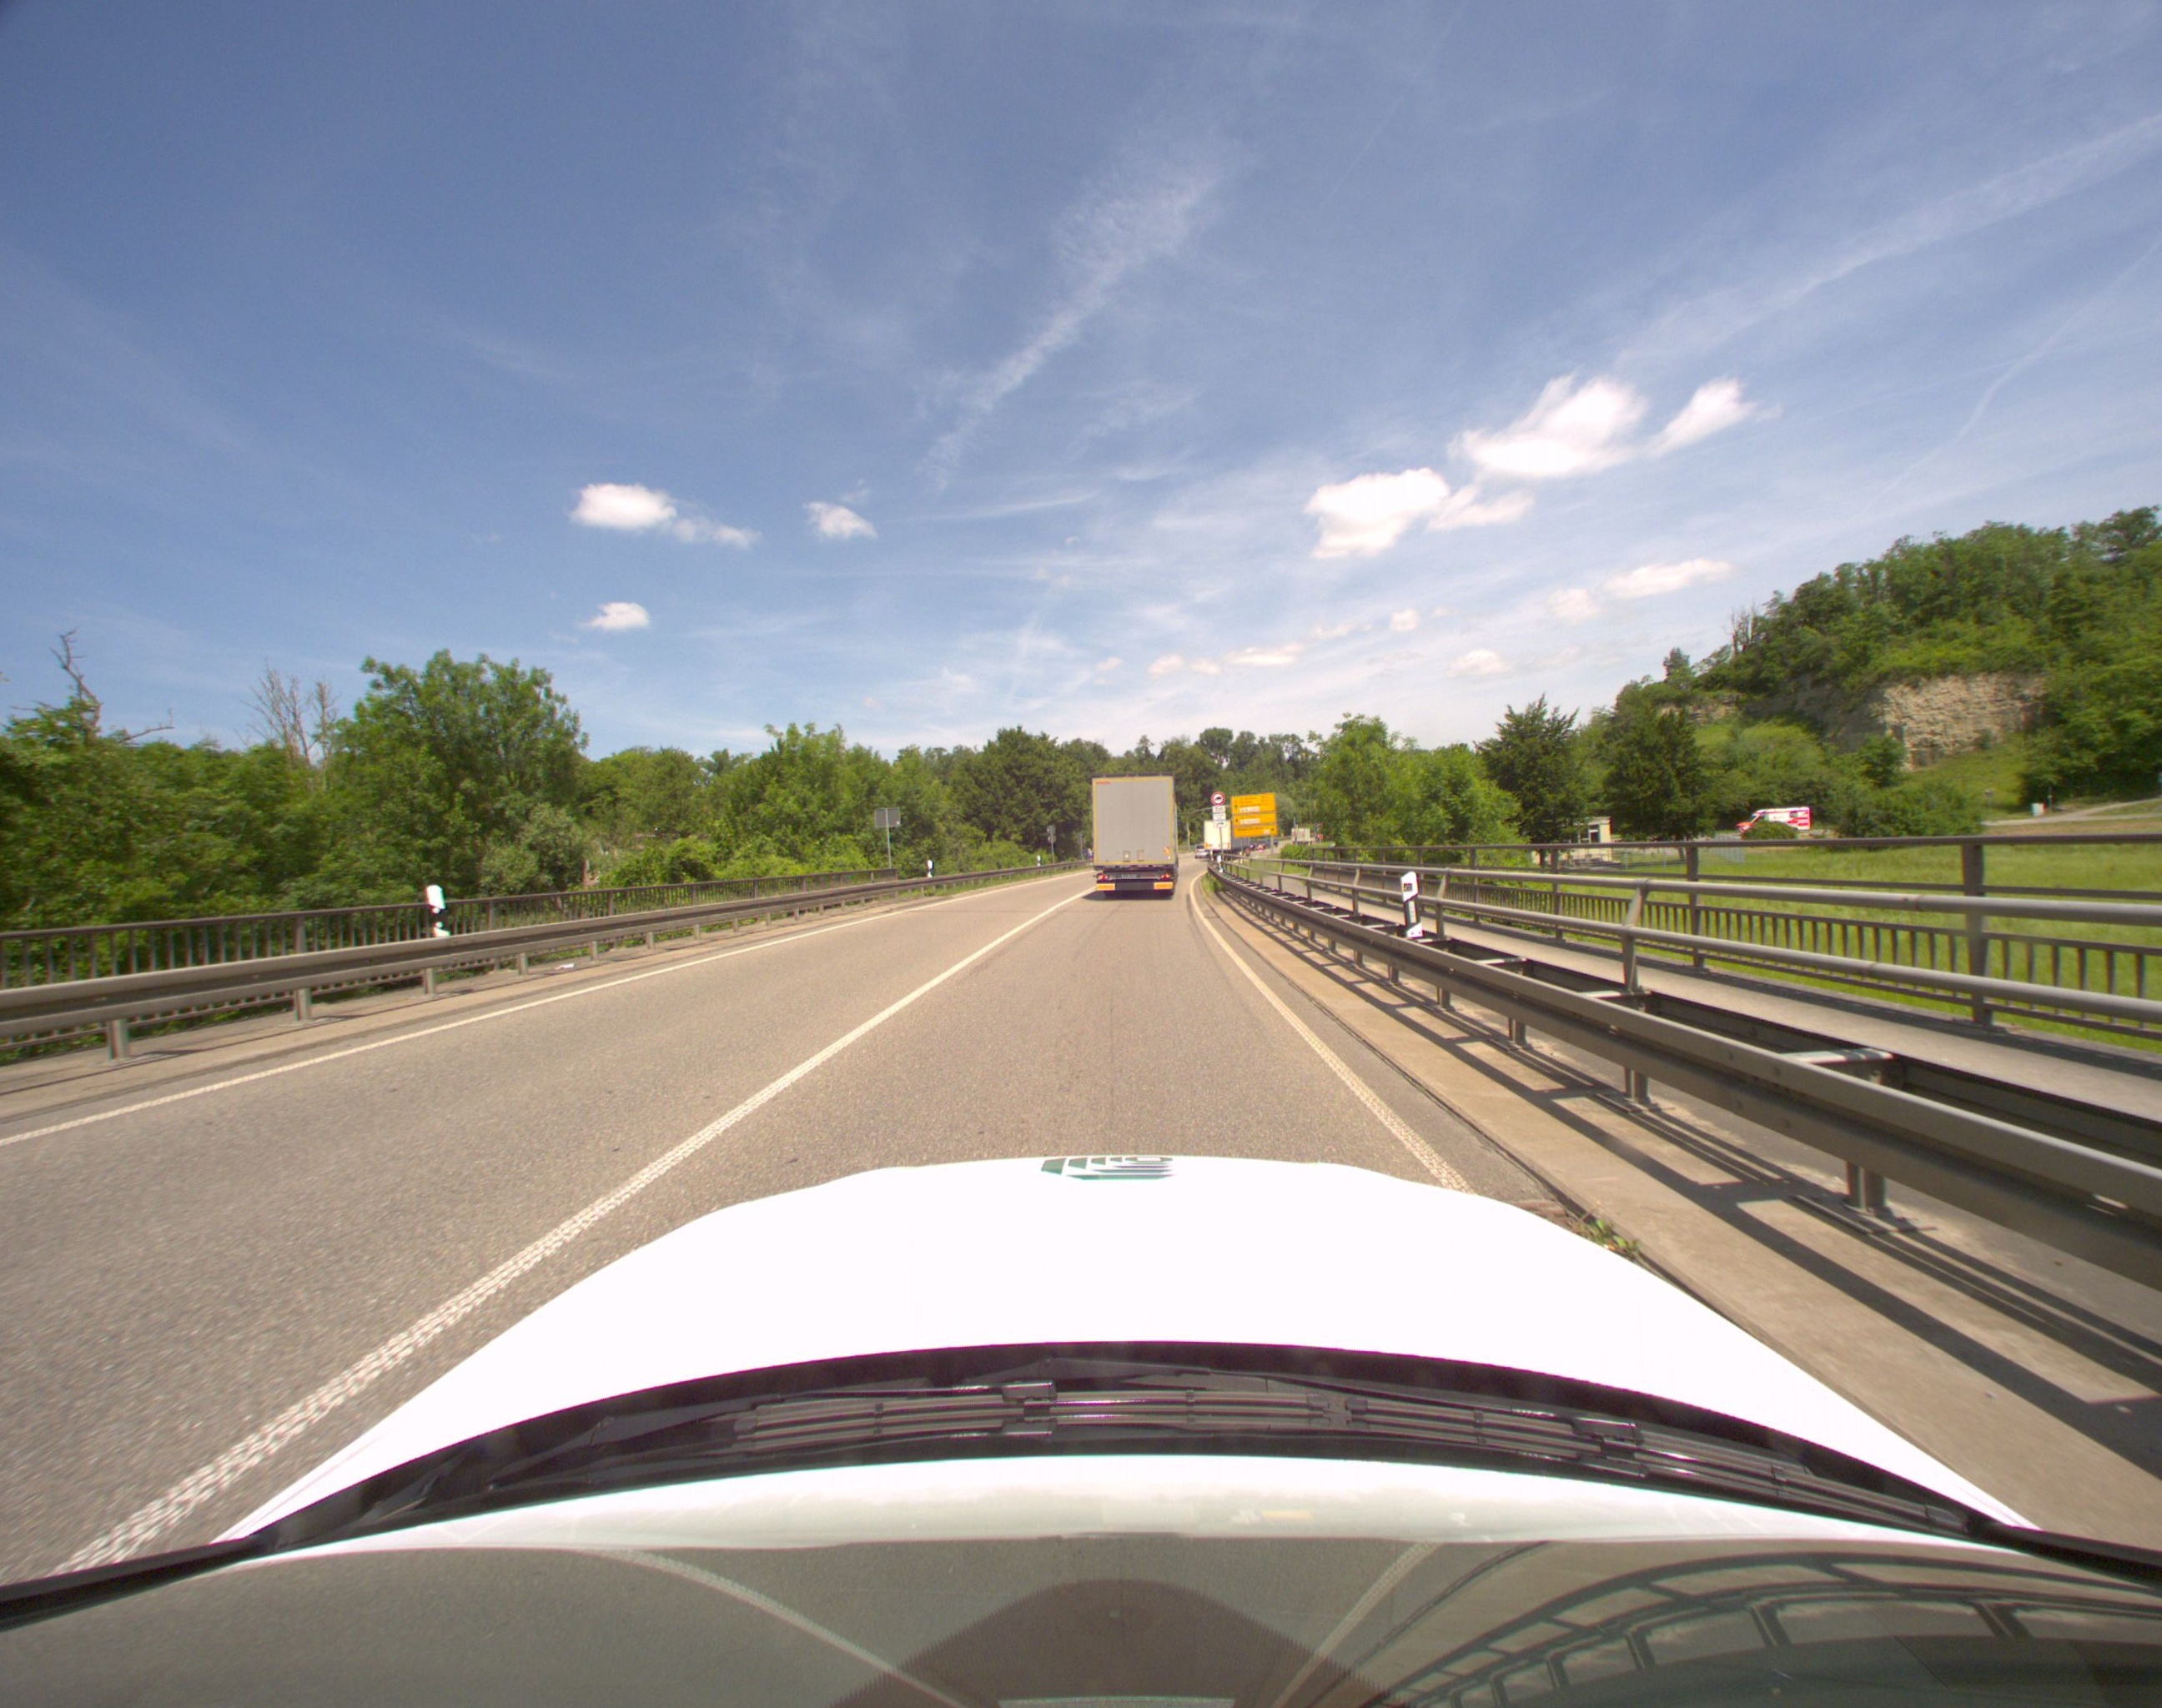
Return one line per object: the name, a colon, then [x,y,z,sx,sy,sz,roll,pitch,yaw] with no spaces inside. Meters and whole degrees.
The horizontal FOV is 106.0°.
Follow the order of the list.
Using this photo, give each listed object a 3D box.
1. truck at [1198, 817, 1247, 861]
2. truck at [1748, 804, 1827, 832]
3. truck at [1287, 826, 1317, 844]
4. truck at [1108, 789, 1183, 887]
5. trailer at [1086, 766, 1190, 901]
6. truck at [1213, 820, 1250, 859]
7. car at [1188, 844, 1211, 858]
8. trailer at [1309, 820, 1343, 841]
truck: [14.526,-1.452,82.843,3.153,4.029,11.800,-2,0,18]
truck: [75.578,-3.831,87.235,5.954,2.728,2.517,-1,-1,29]
truck: [36.805,-3.153,135.450,2.828,2.947,7.150,-1,1,33]
truck: [3.049,-0.680,37.616,3.023,4.033,6.640,-2,0,6]
trailer: [2.372,-0.646,31.051,3.036,4.033,12.579,-2,0,6]
truck: [16.377,-1.489,88.447,3.143,4.004,5.842,-1,0,18]
car: [13.323,-0.328,91.337,1.978,1.519,4.018,-1,-1,18]
trailer: [45.632,-4.301,151.311,3.220,3.685,9.311,-1,1,35]
